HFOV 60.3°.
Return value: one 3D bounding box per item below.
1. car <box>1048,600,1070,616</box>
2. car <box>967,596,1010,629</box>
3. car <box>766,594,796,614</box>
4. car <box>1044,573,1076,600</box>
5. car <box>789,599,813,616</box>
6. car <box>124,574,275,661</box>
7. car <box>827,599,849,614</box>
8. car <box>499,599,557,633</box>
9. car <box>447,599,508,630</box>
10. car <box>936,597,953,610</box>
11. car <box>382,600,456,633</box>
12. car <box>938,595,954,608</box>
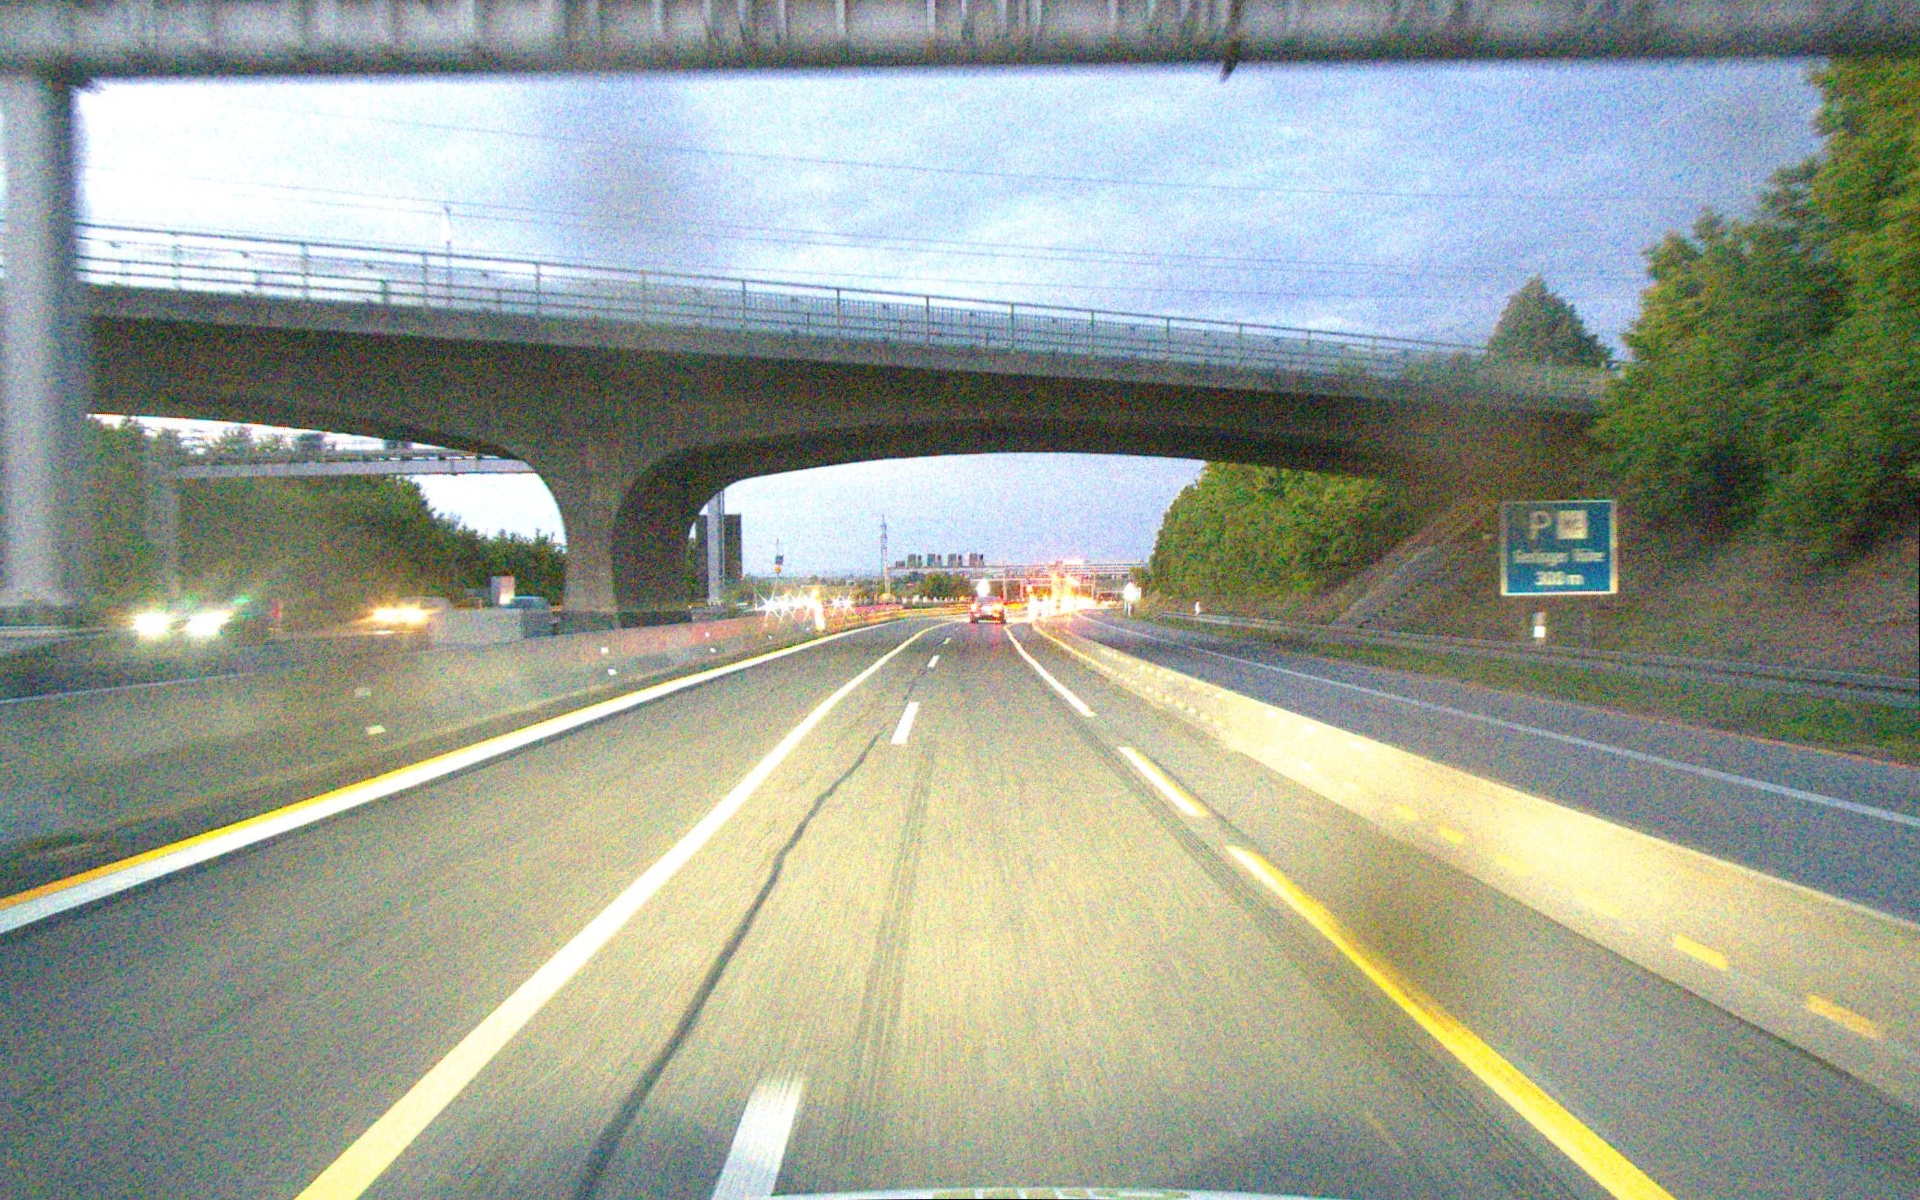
[{"bbox_3d":[9.114,0.737,152.604,1.931,1.462,4.001,2,0,2],"label":"car"},{"bbox_3d":[1.502,0.651,88.838,2.219,1.649,4.000,2,0,1],"label":"car"},{"bbox_3d":[-15.723,0.384,145.251,1.792,1.690,4.843,2,0,3],"label":"car"},{"bbox_3d":[13.438,-1.836,222.338,3.532,3.455,8.011,2,0,-2],"label":"car"},{"bbox_3d":[-17.305,0.840,180.157,1.867,1.744,3.945,2,0,4],"label":"car"},{"bbox_3d":[-21.046,0.478,46.011,1.953,2.228,4.801,2,0,-1],"label":"car"},{"bbox_3d":[-13.443,0.722,183.111,1.792,1.690,4.843,2,0,3],"label":"car"},{"bbox_3d":[-19.213,0.710,73.595,1.593,1.431,3.520,2,0,0],"label":"car"},{"bbox_3d":[-23.068,0.686,79.238,1.954,1.444,3.997,0,0,-4],"label":"car"},{"bbox_3d":[-2.185,0.492,236.859,1.951,1.744,4.002,2,0,5],"label":"car"},{"bbox_3d":[-23.336,0.689,71.499,1.953,1.346,3.999,0,0,-1],"label":"car"},{"bbox_3d":[-2.095,0.268,243.847,1.951,1.860,4.002,2,0,5],"label":"car"}]
